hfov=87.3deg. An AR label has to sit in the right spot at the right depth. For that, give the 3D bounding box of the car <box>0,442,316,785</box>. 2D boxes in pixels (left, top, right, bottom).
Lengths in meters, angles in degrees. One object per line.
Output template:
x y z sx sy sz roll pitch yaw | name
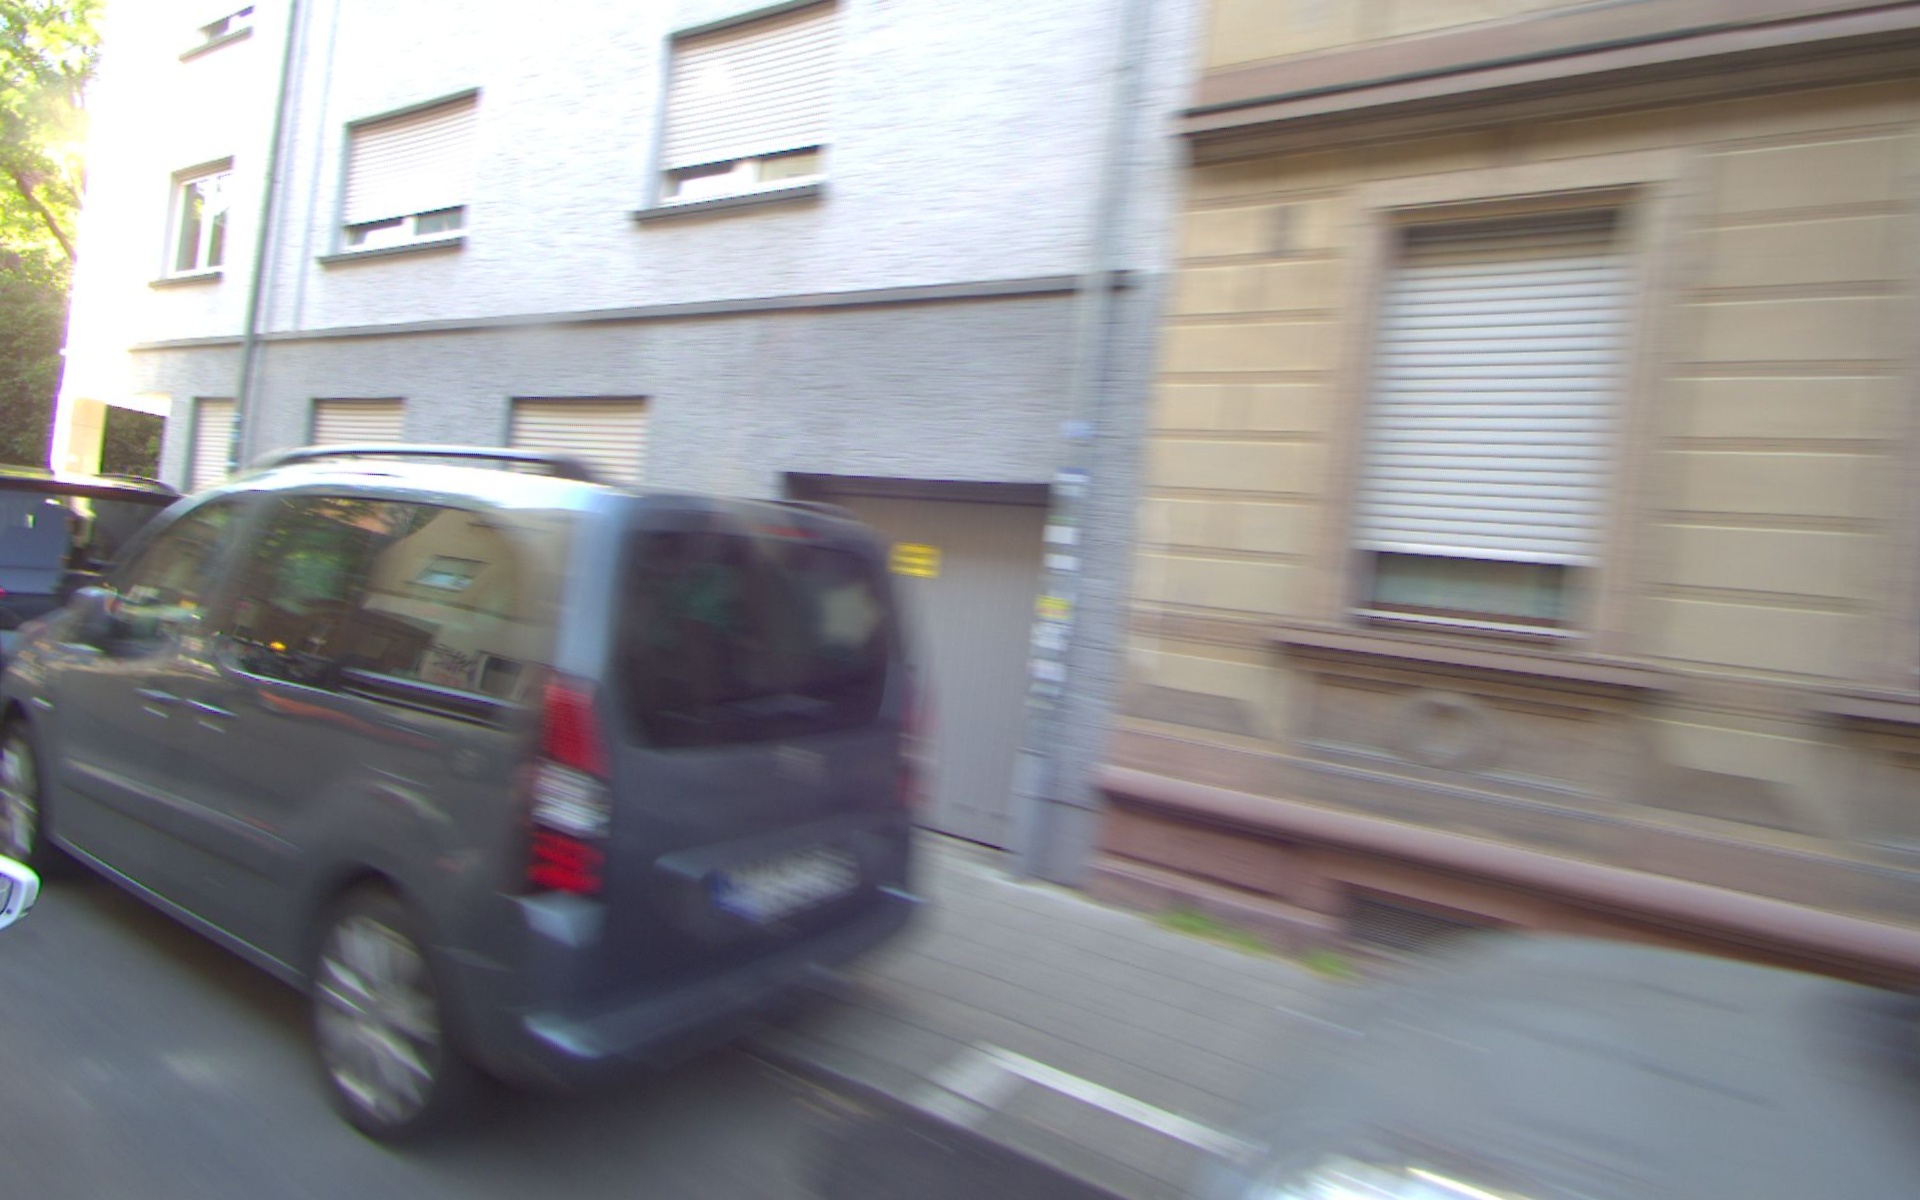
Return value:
-6.271 -0.094 6.343 4.318 1.659 1.904 6 -1 31 | car

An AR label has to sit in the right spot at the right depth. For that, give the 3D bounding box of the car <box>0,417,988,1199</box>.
-2.405 0.342 4.133 4.644 1.810 1.754 7 2 31 | car

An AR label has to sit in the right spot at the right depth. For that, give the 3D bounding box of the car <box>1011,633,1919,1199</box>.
2.288 1.042 0.924 4.217 1.473 1.752 8 4 33 | car
